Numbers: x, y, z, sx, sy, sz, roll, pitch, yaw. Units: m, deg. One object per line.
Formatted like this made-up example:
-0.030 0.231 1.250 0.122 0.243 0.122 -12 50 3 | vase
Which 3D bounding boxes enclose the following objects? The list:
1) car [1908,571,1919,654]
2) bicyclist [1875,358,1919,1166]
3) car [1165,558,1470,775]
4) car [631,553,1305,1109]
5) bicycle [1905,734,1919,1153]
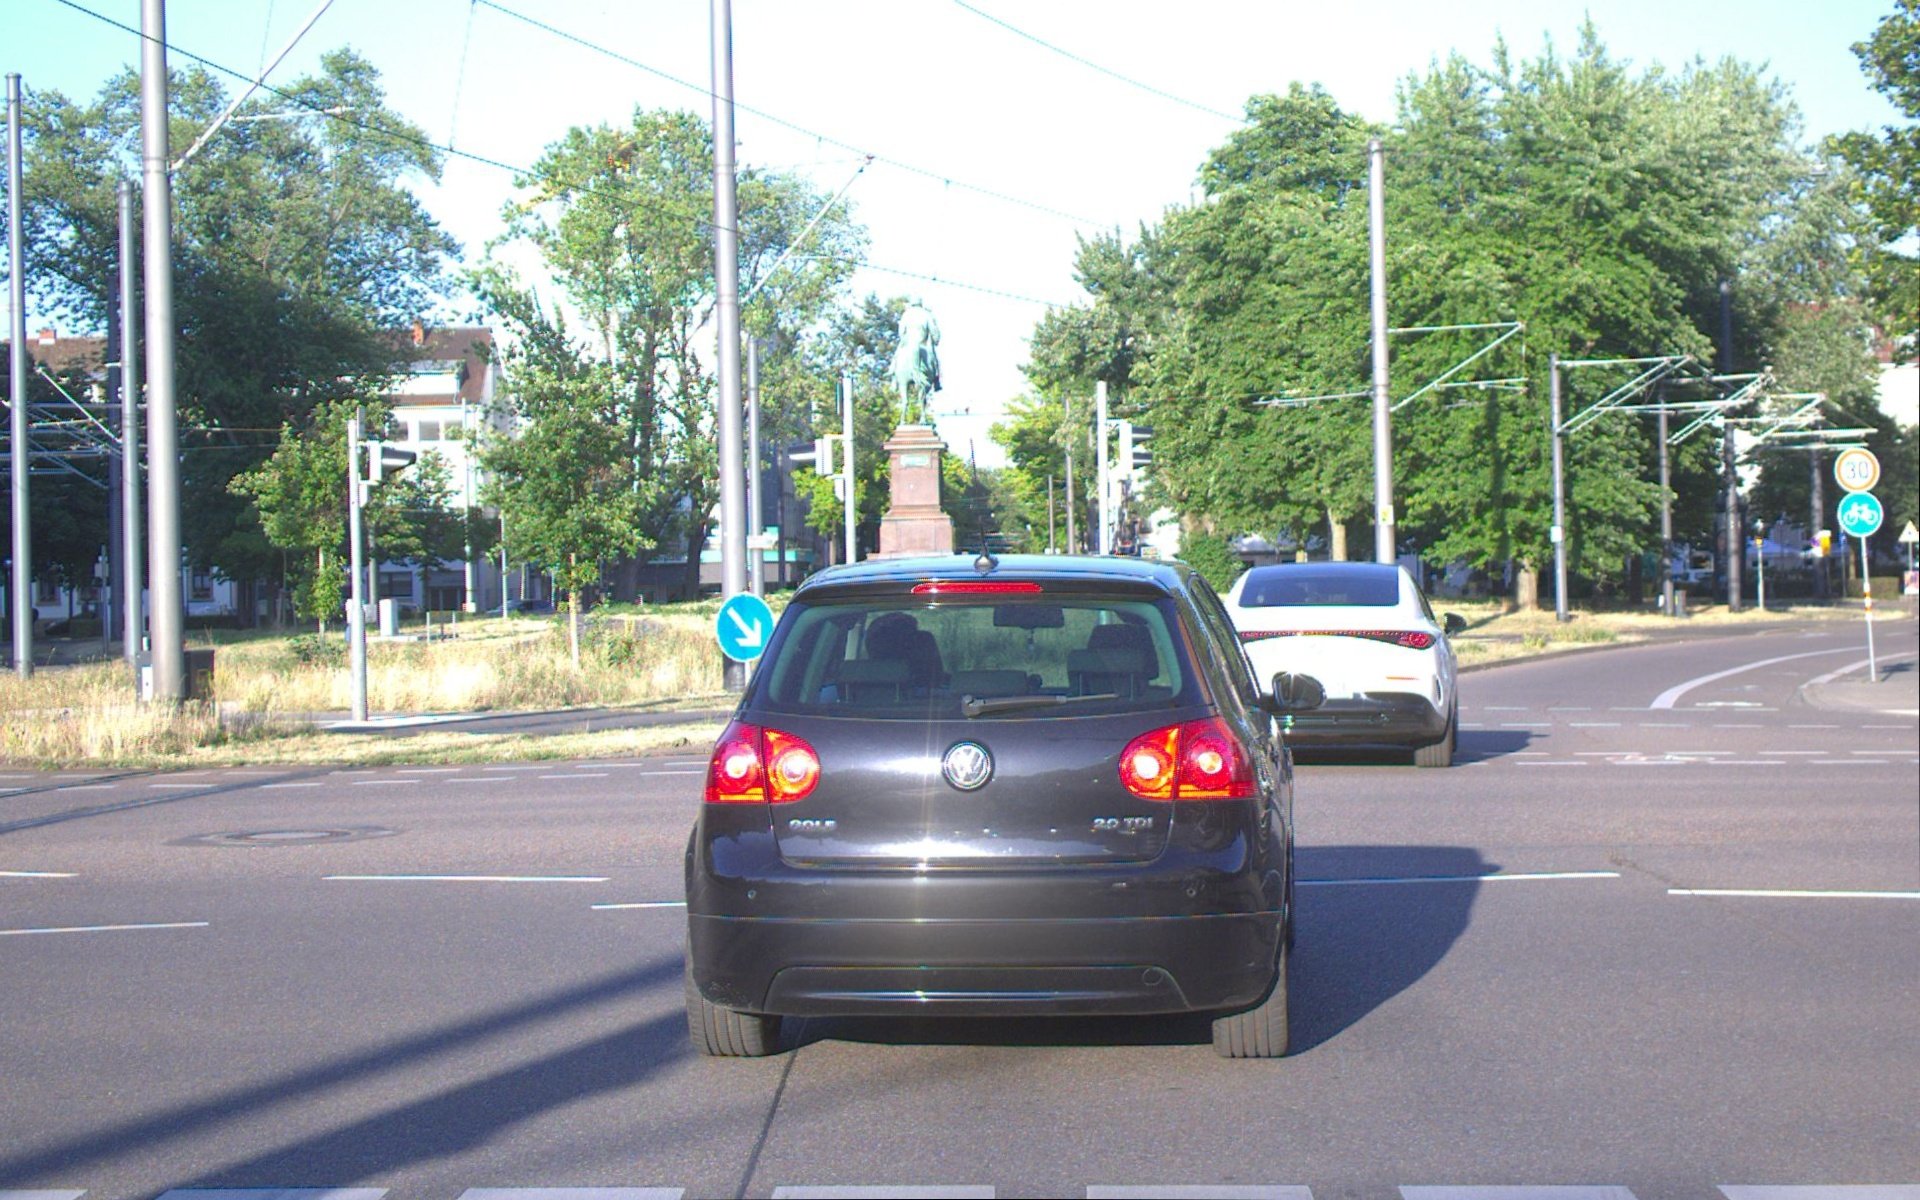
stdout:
18.589 0.156 62.966 1.730 1.467 3.894 -3 -1 24 | car
2.540 0.362 7.564 0.826 1.801 1.057 -1 0 5 | bicyclist
2.706 0.433 25.198 1.866 1.436 4.195 -1 0 11 | car
0.216 0.590 11.143 1.748 1.456 4.102 0 1 6 | car
2.514 0.854 7.581 0.478 1.024 1.981 -1 0 5 | bicycle
